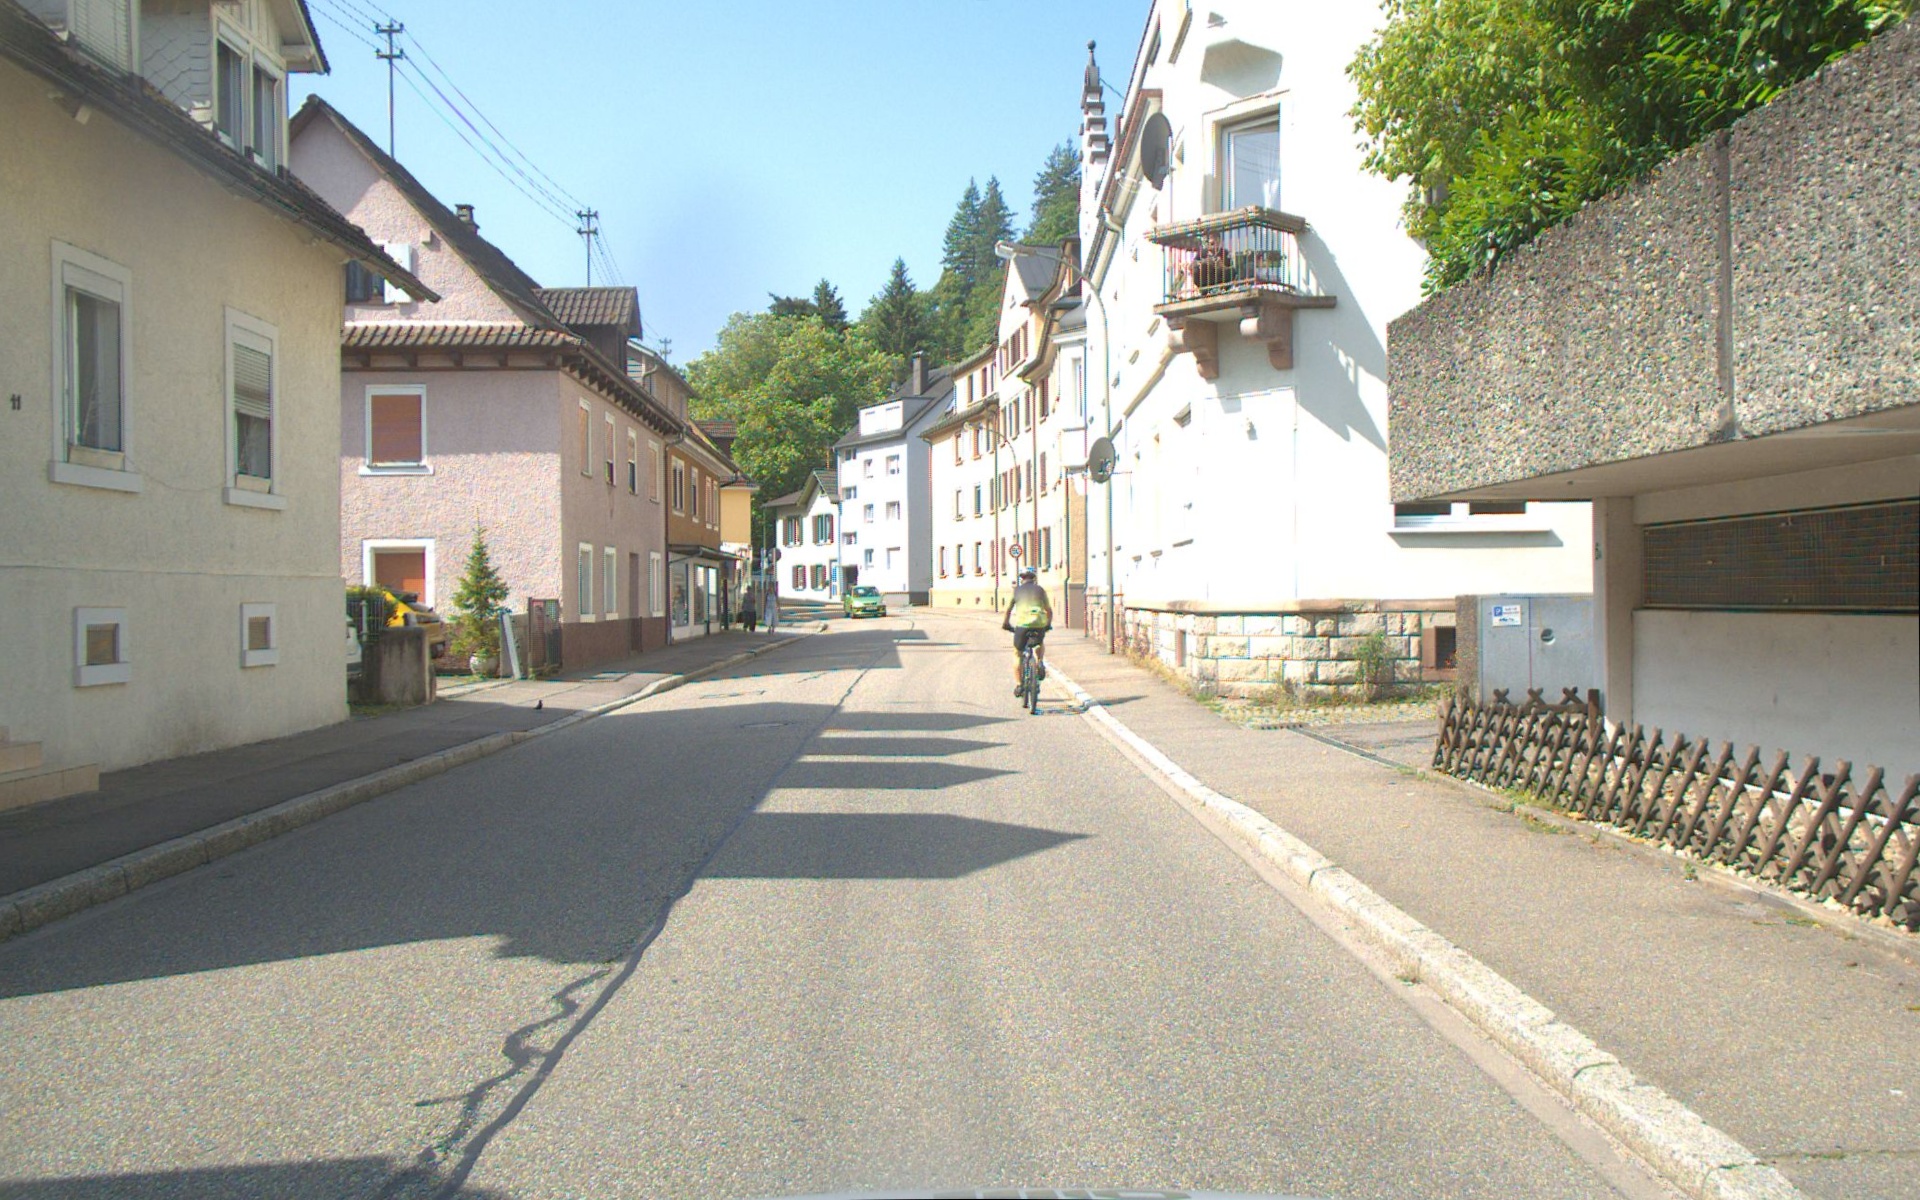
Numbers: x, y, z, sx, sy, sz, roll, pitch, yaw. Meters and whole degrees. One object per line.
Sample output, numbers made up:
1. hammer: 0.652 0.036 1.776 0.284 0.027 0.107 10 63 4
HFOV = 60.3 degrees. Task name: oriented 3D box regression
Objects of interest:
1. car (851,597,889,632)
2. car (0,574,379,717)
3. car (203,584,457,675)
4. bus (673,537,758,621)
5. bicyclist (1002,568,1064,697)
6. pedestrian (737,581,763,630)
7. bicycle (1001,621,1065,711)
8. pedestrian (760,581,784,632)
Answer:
1. car: -4.210 0.660 76.912 1.566 1.489 3.656 -4 1 -5
2. car: -9.236 0.518 19.809 3.908 1.621 1.906 0 0 -4
3. car: -10.569 0.479 27.941 3.676 1.417 1.644 1 1 -4
4. bus: -10.169 -0.877 69.578 2.764 3.284 9.029 1 0 -4
5. bicyclist: 0.899 0.400 20.595 0.672 1.558 0.715 -1 0 -3
6. pedestrian: -7.028 0.178 55.365 0.720 1.592 0.824 2 0 -1
7. bicycle: 0.903 0.805 20.744 0.684 1.053 1.470 0 1 -2
8. pedestrian: -6.290 0.206 55.369 0.626 1.654 0.777 2 0 -1
